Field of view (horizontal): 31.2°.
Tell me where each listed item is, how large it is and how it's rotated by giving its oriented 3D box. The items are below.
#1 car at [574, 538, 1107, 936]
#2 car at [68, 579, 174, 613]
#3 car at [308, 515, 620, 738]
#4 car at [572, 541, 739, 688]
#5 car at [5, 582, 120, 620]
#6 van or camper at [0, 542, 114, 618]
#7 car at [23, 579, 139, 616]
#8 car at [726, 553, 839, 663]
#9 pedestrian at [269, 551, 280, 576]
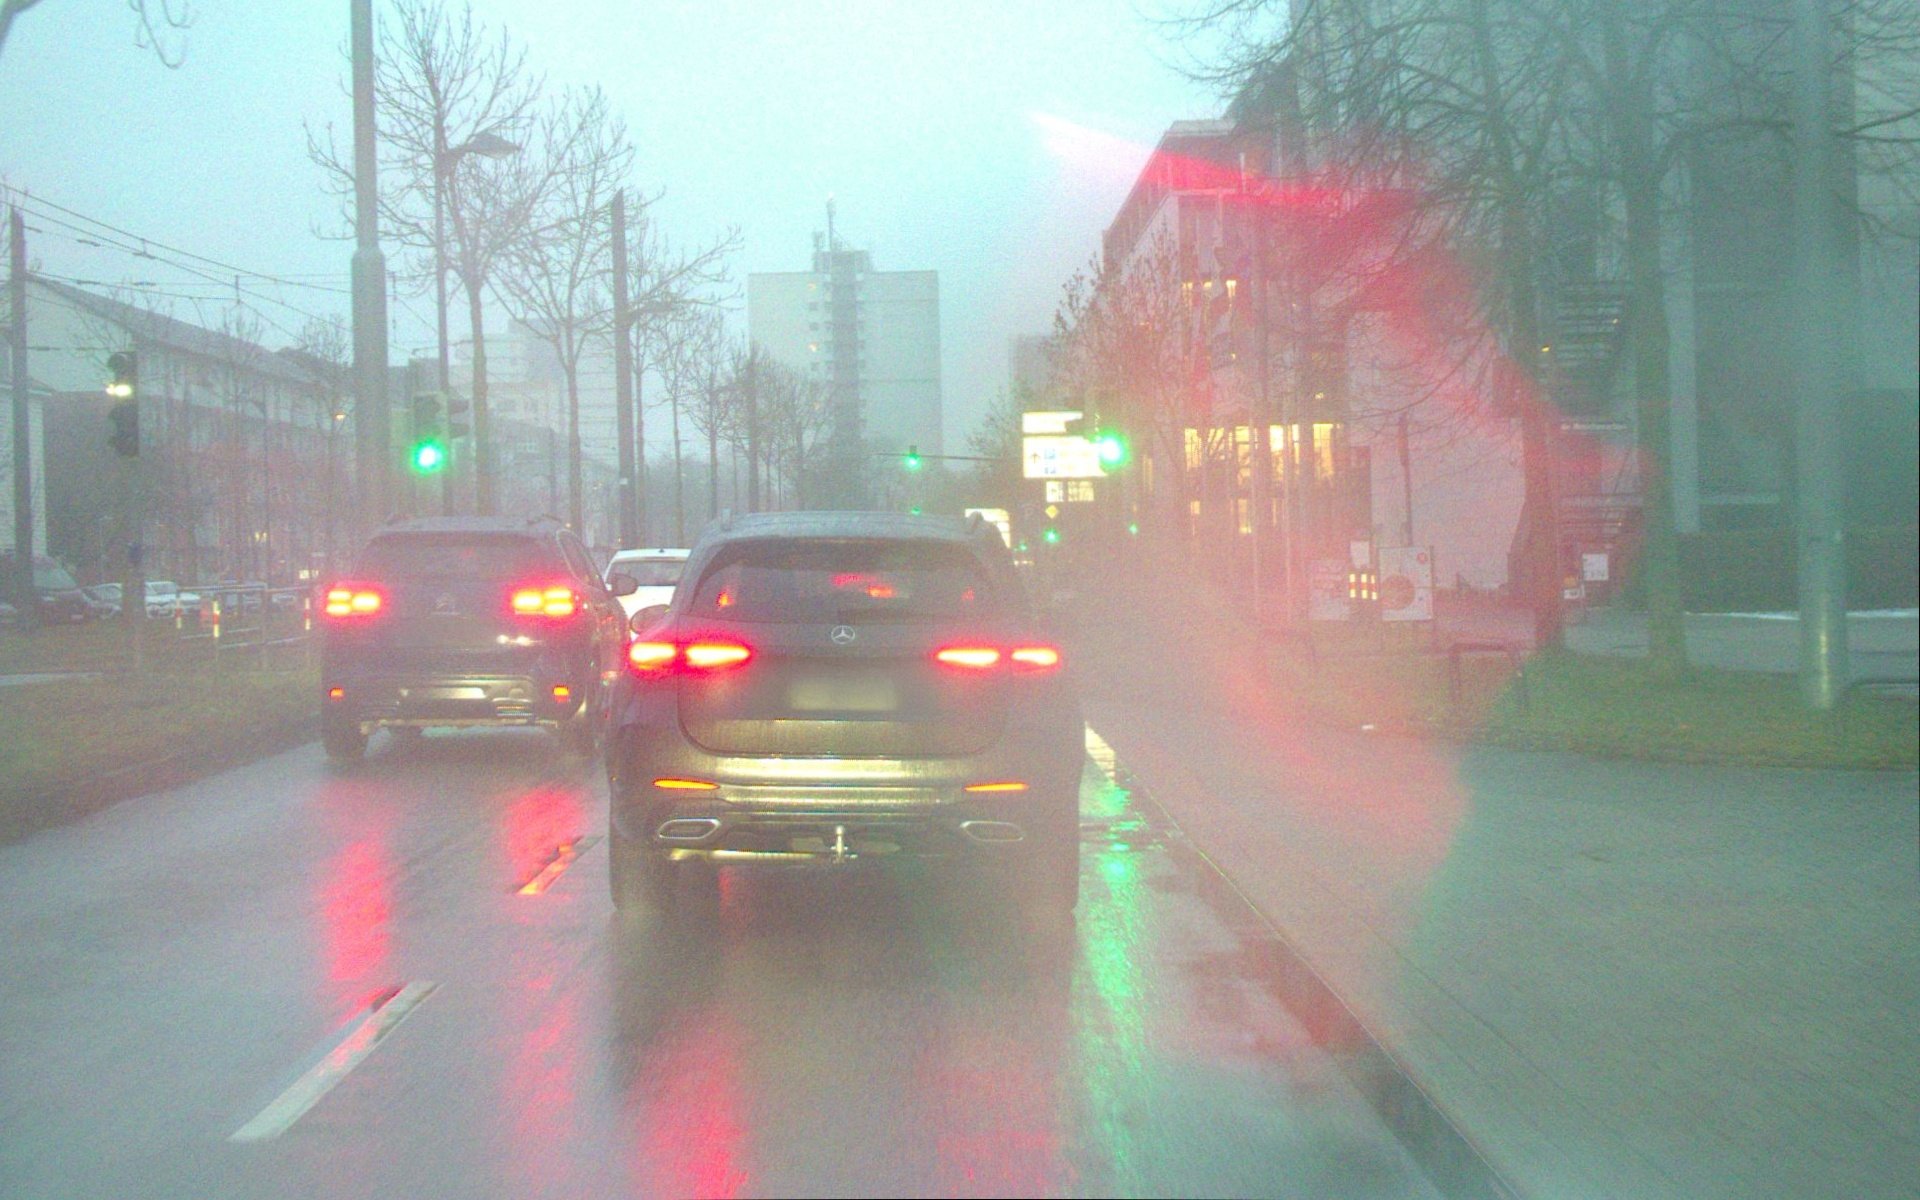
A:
[{"bbox_3d":[-0.482,0.504,14.812,1.993,1.478,3.700,1,0,-1],"label":"car"},{"bbox_3d":[-29.587,-0.136,121.231,3.413,1.143,1.688,1,1,31],"label":"car"},{"bbox_3d":[-3.457,0.154,24.589,1.817,1.445,4.000,1,1,-3],"label":"car"},{"bbox_3d":[-3.528,0.139,40.303,1.689,1.630,3.474,1,1,-1],"label":"car"},{"bbox_3d":[-29.965,0.027,114.787,3.535,1.208,1.744,1,1,31],"label":"car"},{"bbox_3d":[-30.115,-0.666,109.495,6.872,2.352,1.996,1,1,33],"label":"van or camper"},{"bbox_3d":[-30.058,-0.078,117.530,3.535,1.196,1.879,1,1,31],"label":"car"},{"bbox_3d":[-2.940,0.127,57.552,1.662,1.753,3.568,1,0,0],"label":"car"},{"bbox_3d":[-32.469,-1.743,162.897,0.345,1.180,0.434,0,0,-41],"label":"pedestrian"}]
